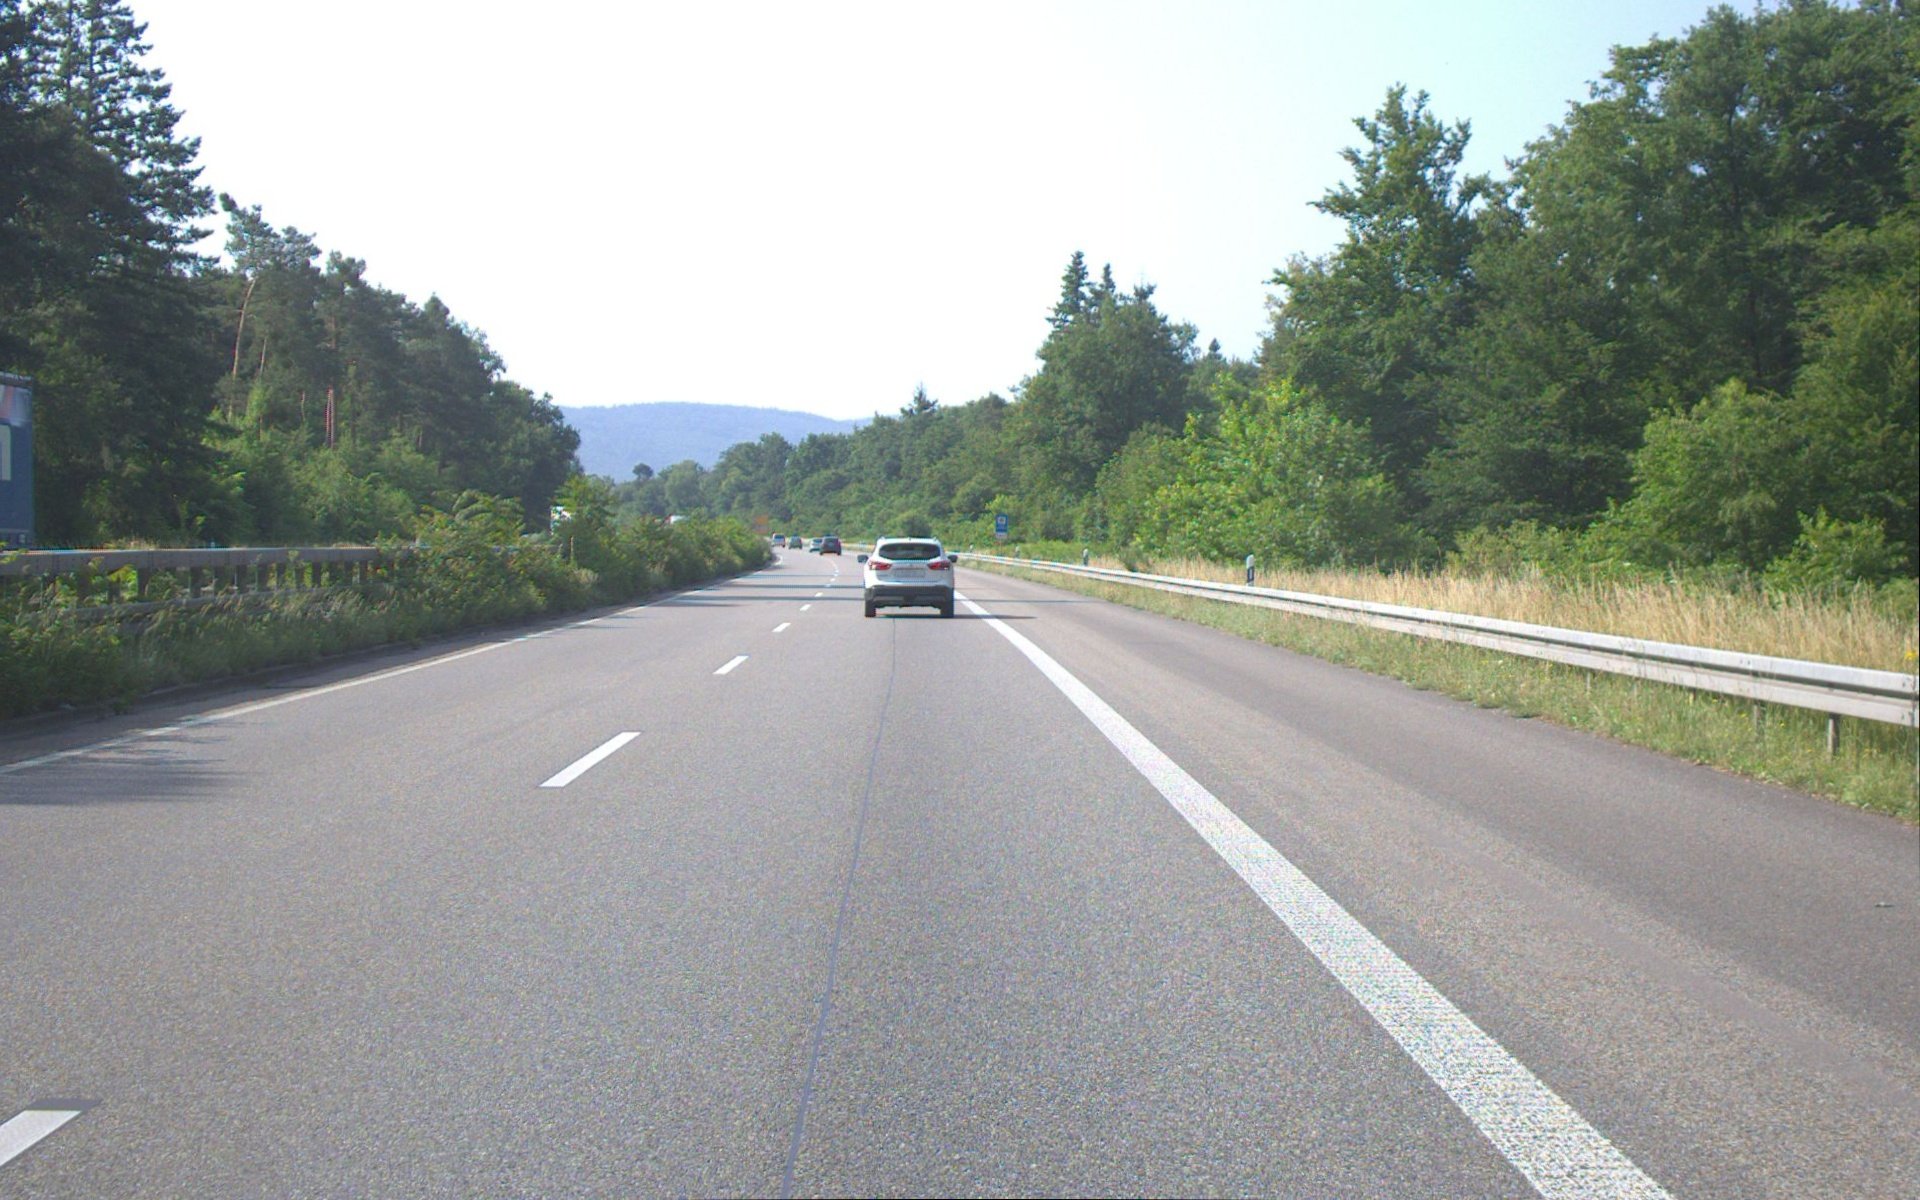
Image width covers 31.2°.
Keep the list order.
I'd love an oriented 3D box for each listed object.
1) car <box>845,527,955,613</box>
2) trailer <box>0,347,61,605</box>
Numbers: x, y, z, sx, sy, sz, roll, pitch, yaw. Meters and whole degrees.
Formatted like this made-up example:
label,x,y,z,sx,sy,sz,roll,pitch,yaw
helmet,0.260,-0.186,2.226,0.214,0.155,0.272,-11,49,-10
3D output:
label,x,y,z,sx,sy,sz,roll,pitch,yaw
car,-1.247,-0.630,69.511,1.873,1.581,4.001,2,1,-5
trailer,-16.302,-1.835,50.230,2.892,3.994,13.324,-1,1,-1
